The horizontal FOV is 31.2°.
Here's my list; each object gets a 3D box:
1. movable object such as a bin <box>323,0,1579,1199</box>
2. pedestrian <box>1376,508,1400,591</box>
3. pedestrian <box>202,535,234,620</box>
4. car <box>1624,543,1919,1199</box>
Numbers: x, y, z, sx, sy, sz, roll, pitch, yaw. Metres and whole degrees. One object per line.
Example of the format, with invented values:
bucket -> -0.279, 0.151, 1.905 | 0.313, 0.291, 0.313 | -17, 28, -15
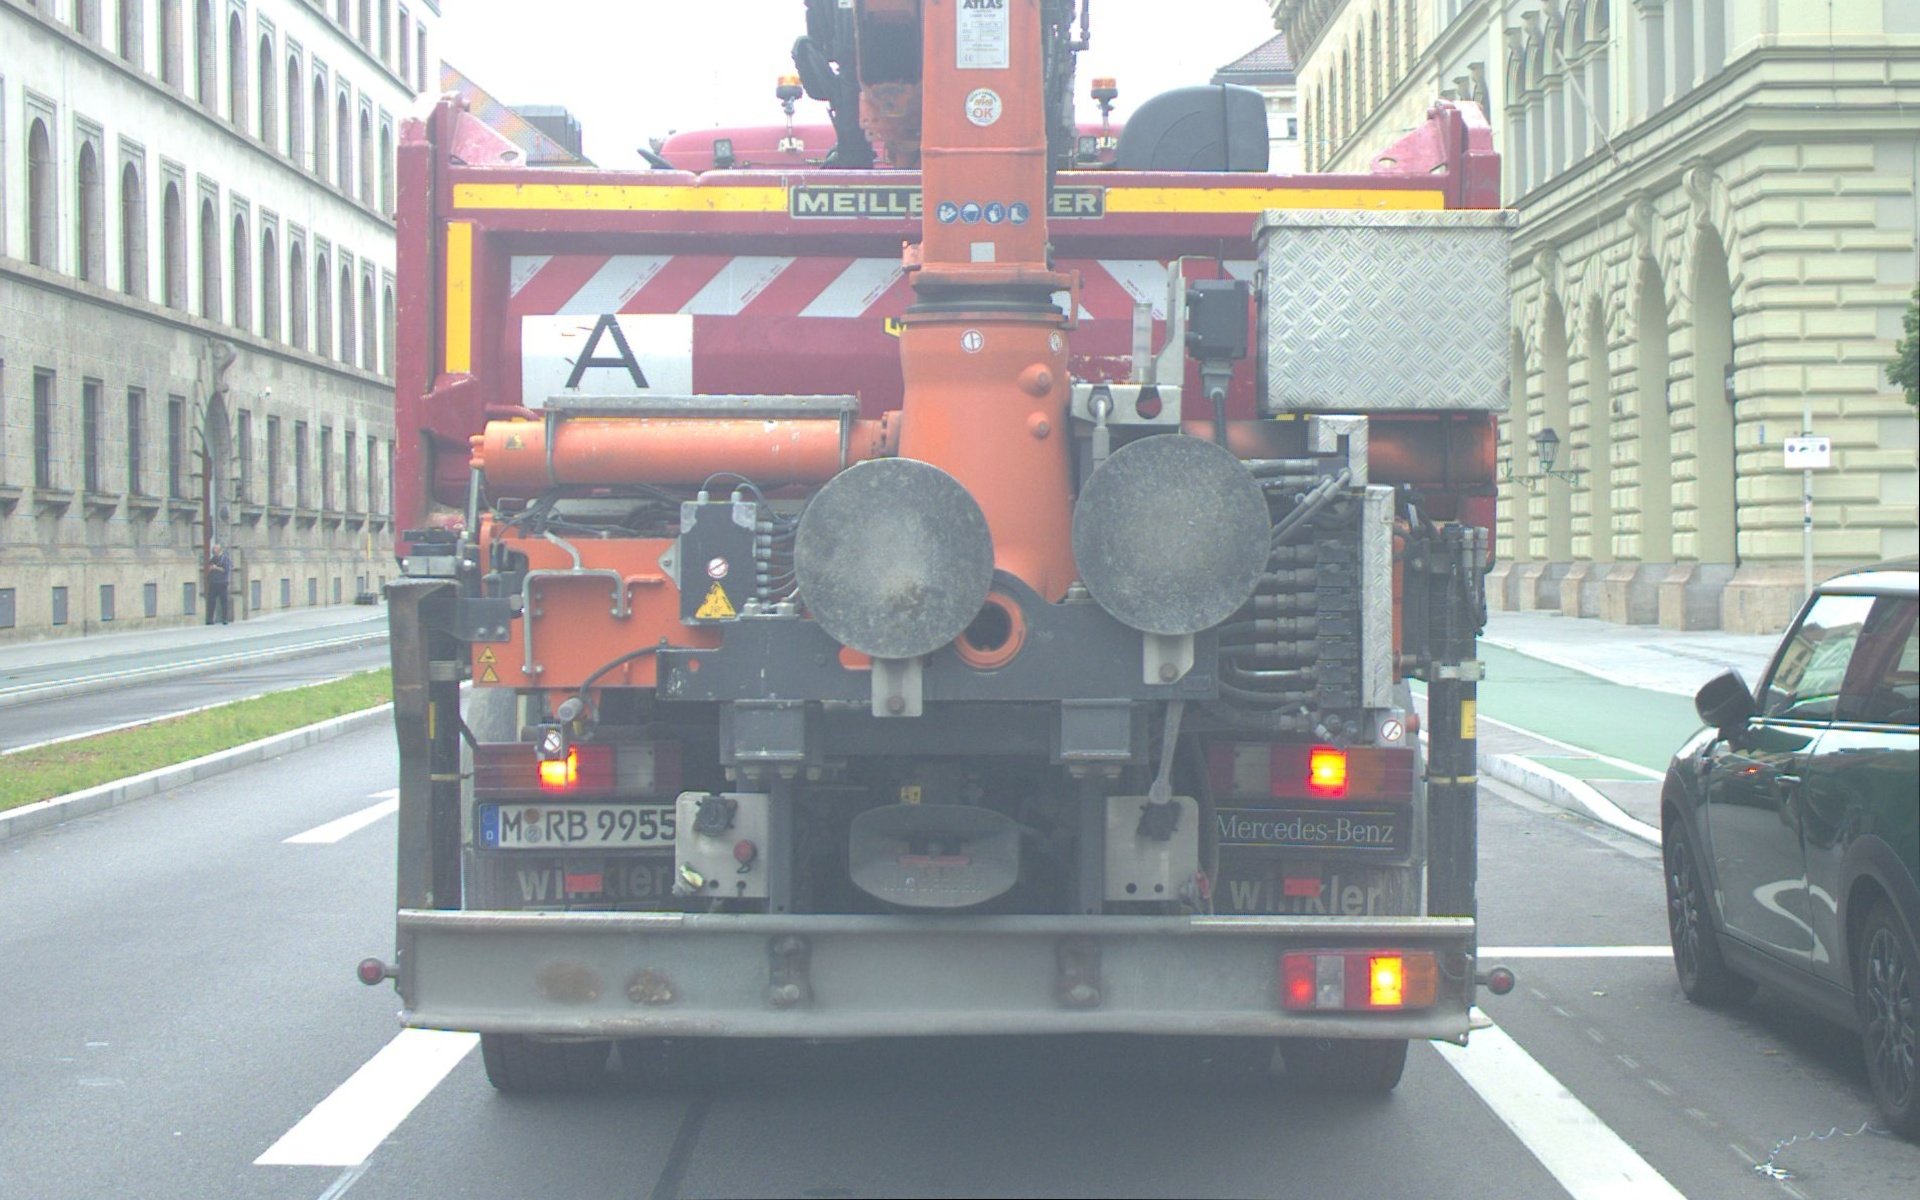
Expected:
movable object such as a bin -> -0.063, -0.466, 9.573 | 2.423, 3.599, 5.852 | 0, 1, -1
pedestrian -> 9.504, -1.123, 76.336 | 0.445, 1.830, 0.556 | -1, 1, 1
pedestrian -> -15.930, -0.485, 73.804 | 0.588, 1.825, 0.499 | 0, 1, -1
car -> 3.010, 0.594, 9.652 | 1.610, 1.490, 3.424 | -1, 1, 0
